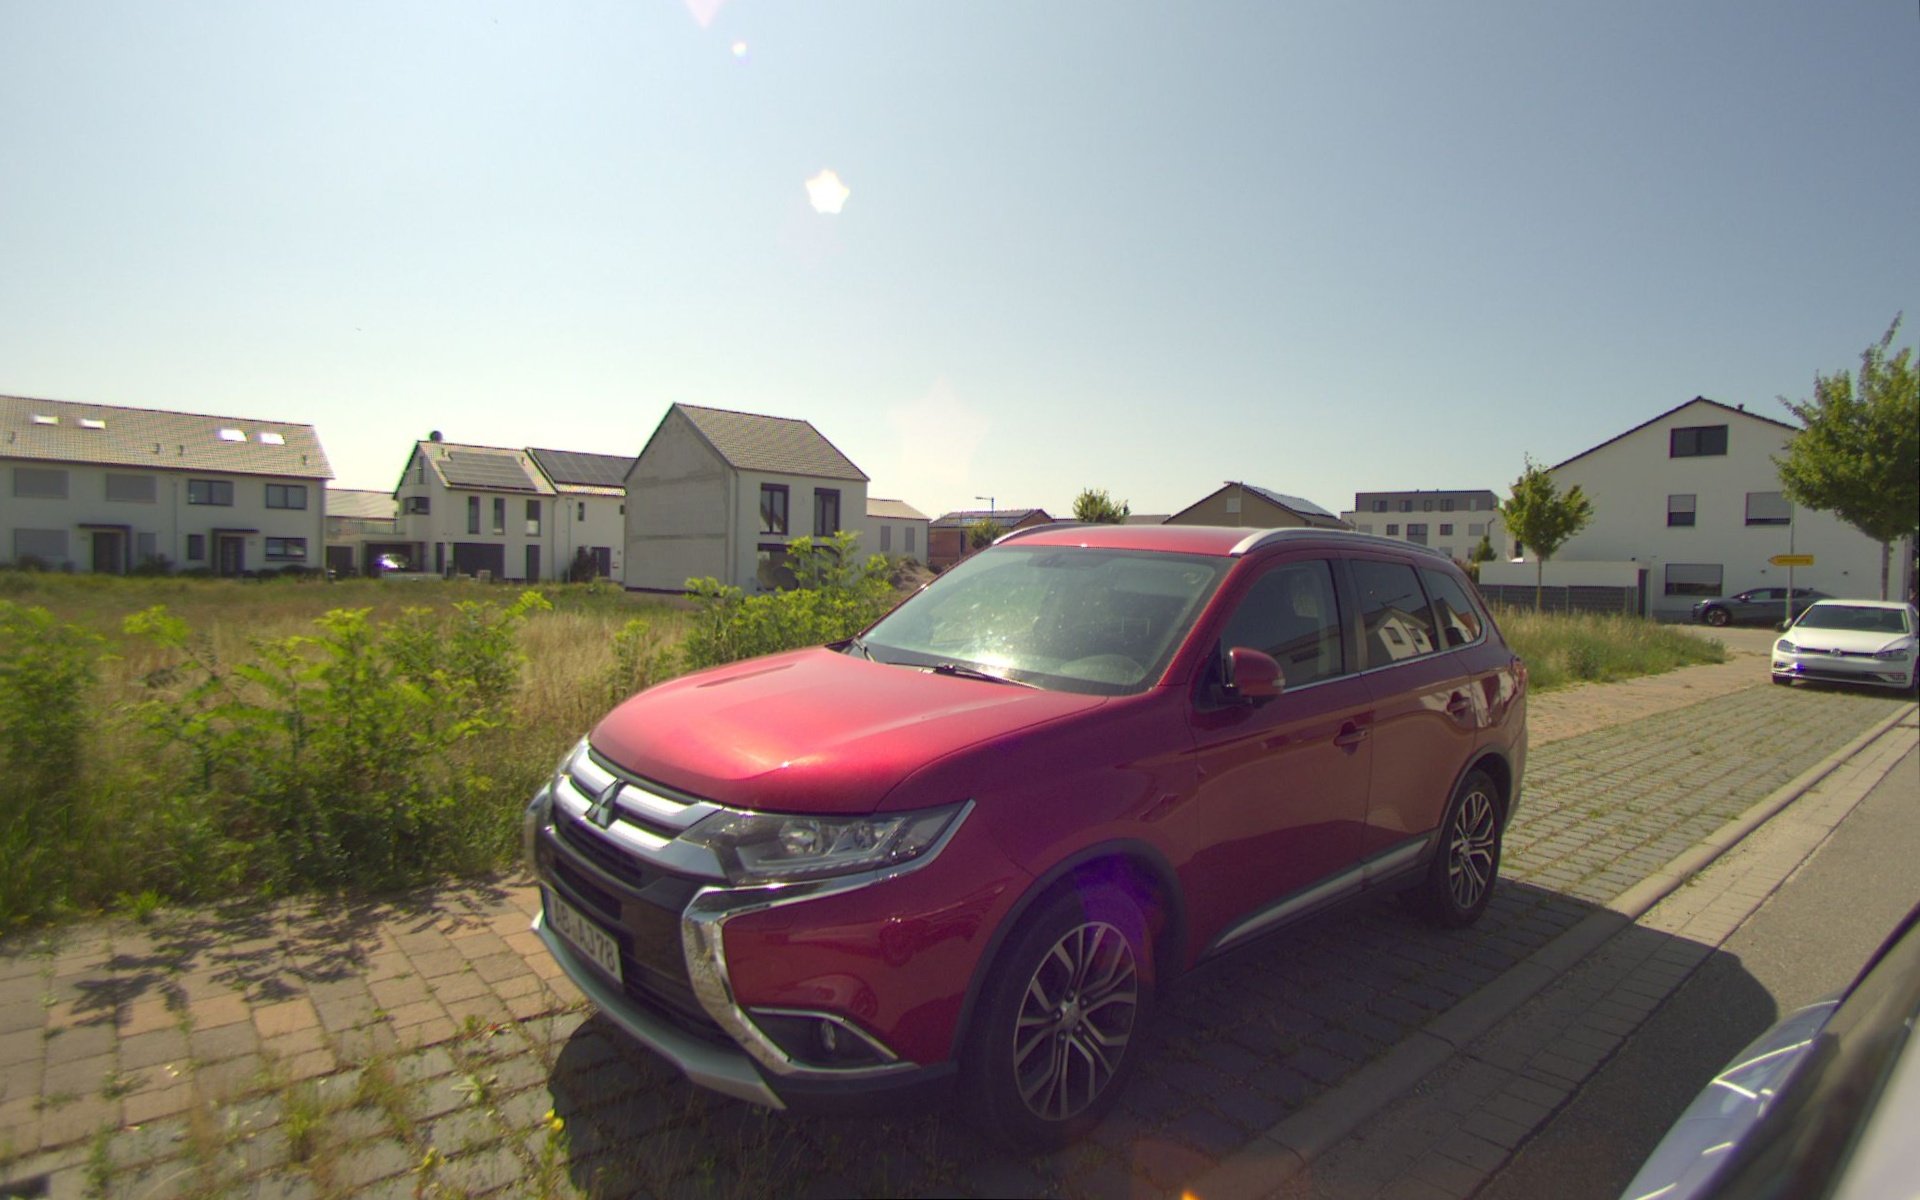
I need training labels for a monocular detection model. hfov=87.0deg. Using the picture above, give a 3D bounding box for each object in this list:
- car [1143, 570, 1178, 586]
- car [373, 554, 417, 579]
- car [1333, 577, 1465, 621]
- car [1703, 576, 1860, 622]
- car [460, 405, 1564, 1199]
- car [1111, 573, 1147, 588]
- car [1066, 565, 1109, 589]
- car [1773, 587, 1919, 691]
[{"bbox_3d":[19.999,-2.166,100.722,1.742,1.521,3.944,3,2,39],"label":"car"},{"bbox_3d":[-34.849,-2.072,62.411,1.782,1.531,3.998,0,2,-38],"label":"car"},{"bbox_3d":[16.343,-0.087,37.789,4.178,1.512,1.822,2,3,42],"label":"car"},{"bbox_3d":[30.597,-0.067,37.790,1.927,1.577,4.341,1,1,-43],"label":"car"},{"bbox_3d":[0.640,0.442,3.991,4.358,1.683,1.780,0,3,-43],"label":"car"},{"bbox_3d":[16.022,-1.848,95.839,1.660,1.418,3.865,3,2,39],"label":"car"},{"bbox_3d":[11.438,-2.028,90.442,1.991,2.038,3.944,3,2,39],"label":"car"},{"bbox_3d":[15.109,0.566,16.817,4.093,1.437,1.779,0,3,-42],"label":"car"}]
